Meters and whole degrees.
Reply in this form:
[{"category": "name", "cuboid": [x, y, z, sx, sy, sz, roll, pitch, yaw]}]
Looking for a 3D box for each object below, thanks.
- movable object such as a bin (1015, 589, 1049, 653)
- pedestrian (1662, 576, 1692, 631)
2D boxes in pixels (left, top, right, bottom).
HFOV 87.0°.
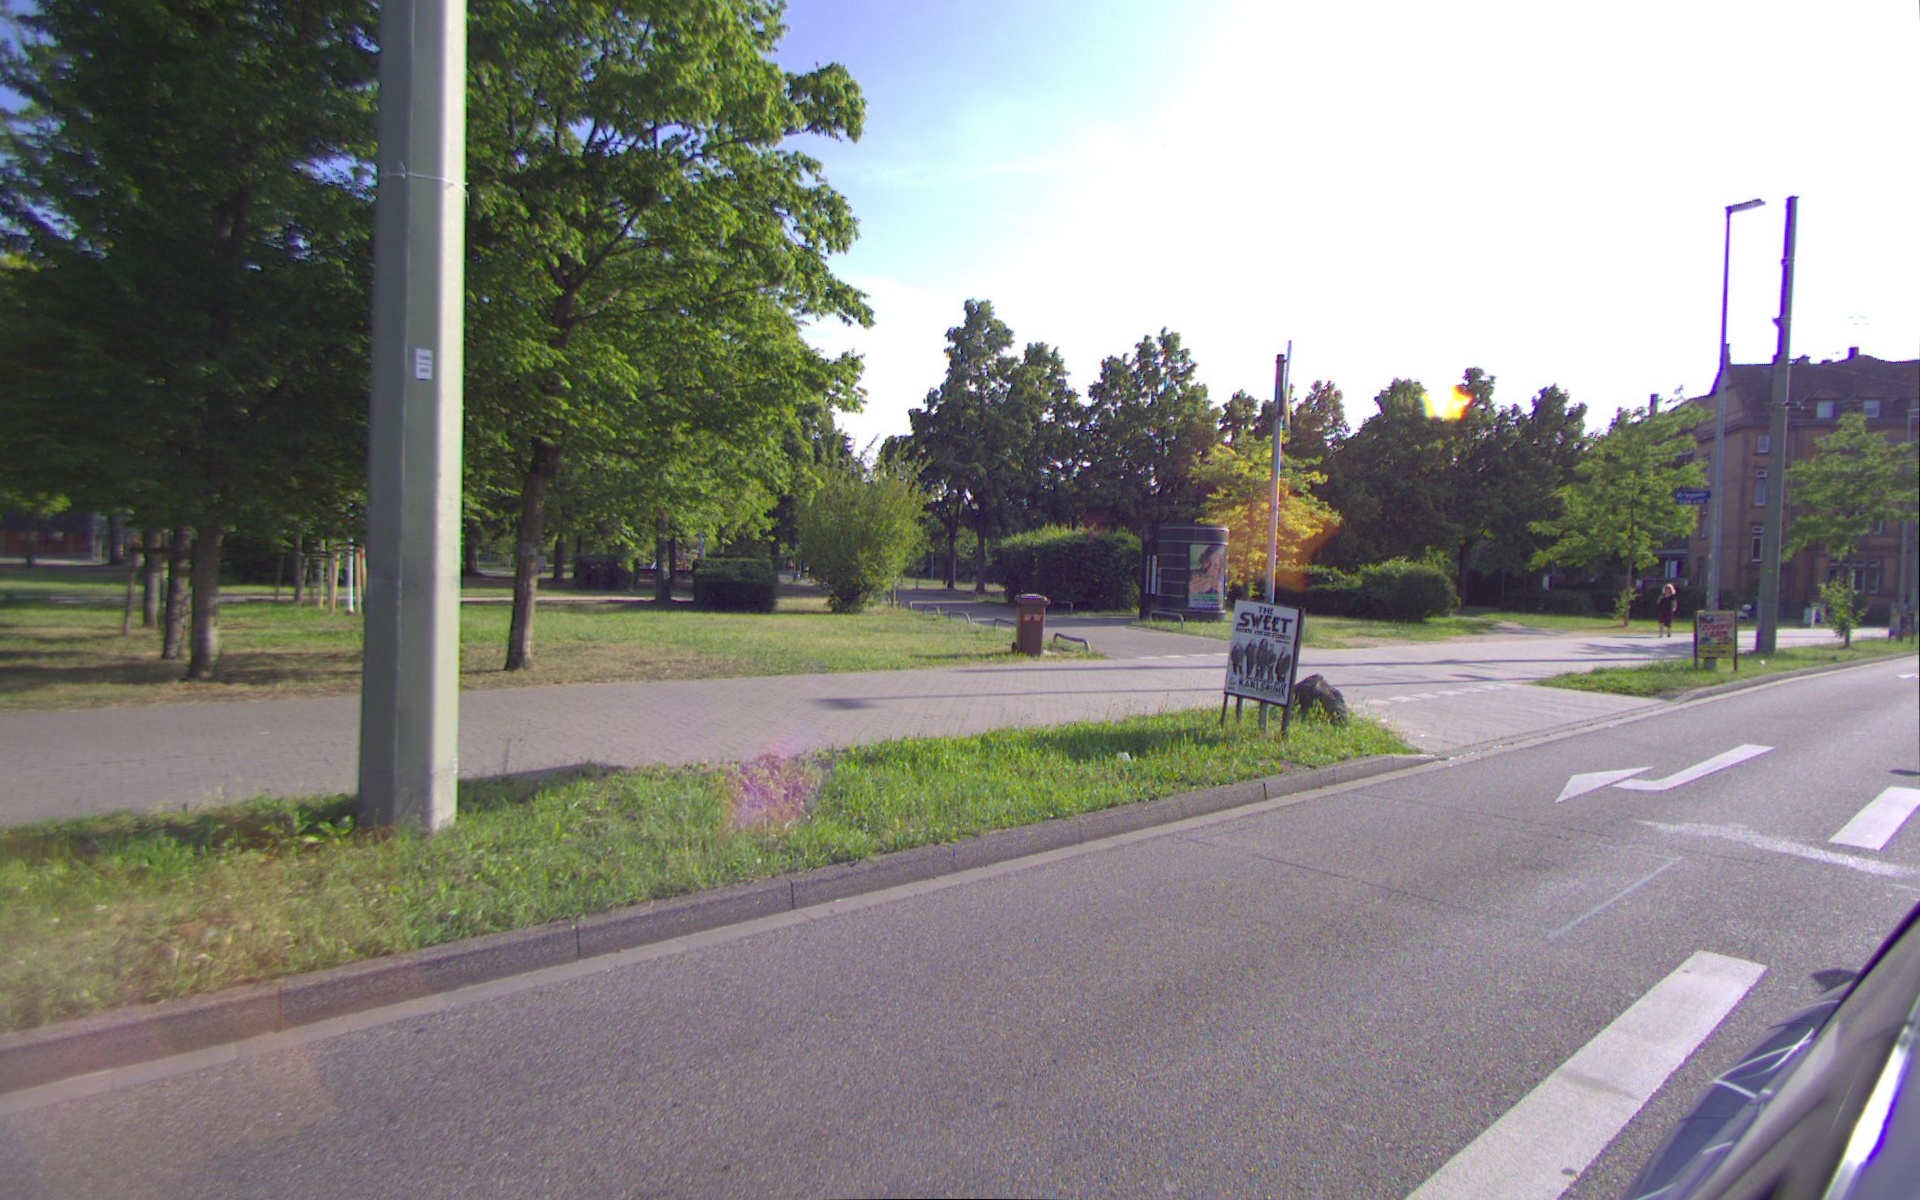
[{"category": "movable object such as a bin", "cuboid": [1.092, 0.304, 15.428, 0.447, 0.929, 0.605, 2, 2, 1]}, {"category": "pedestrian", "cuboid": [22.710, 0.107, 32.049, 0.607, 1.706, 0.621, 1, 0, -40]}]
